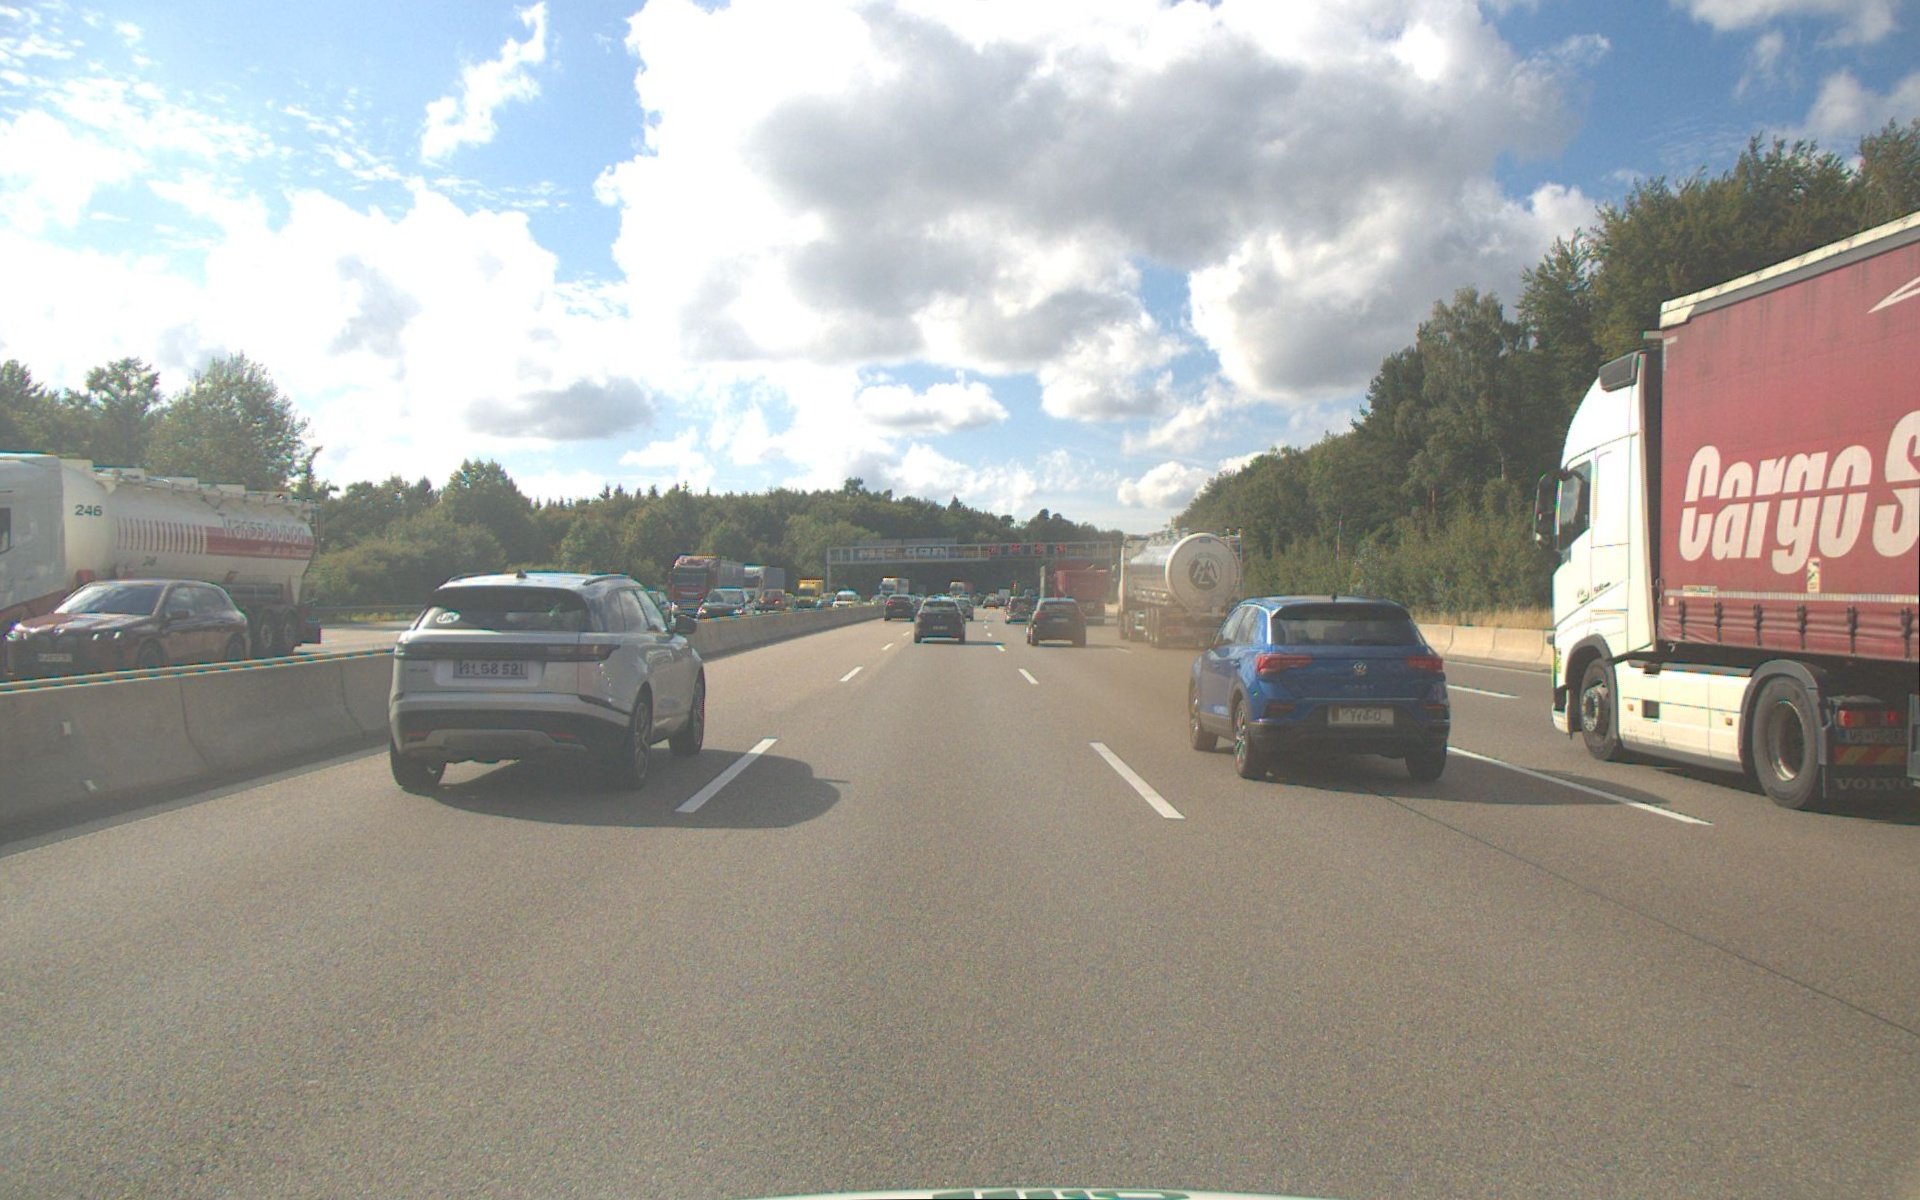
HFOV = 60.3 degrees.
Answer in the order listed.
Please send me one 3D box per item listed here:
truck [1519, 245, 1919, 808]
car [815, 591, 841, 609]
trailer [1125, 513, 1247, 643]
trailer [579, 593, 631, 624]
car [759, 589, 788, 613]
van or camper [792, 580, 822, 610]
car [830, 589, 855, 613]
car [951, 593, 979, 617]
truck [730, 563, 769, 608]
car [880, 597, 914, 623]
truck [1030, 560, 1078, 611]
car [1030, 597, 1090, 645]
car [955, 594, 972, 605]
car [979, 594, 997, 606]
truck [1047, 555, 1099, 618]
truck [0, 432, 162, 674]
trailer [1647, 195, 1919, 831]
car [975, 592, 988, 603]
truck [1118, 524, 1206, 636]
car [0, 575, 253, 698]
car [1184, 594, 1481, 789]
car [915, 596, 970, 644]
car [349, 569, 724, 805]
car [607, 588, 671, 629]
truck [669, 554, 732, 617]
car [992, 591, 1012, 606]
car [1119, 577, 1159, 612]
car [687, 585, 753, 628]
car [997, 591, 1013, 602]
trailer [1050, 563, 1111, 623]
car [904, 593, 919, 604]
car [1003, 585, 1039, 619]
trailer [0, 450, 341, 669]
[{"bbox_3d":[7.464,-0.544,15.032,2.717,4.116,5.772,0,0,-1],"label":"truck"},{"bbox_3d":[-12.312,-0.032,154.420,1.805,1.624,4.915,-1,0,2],"label":"car"},{"bbox_3d":[7.282,-0.662,54.861,2.594,3.833,11.861,0,0,1],"label":"trailer"},{"bbox_3d":[-16.945,0.407,79.079,1.503,1.427,4.180,0,0,1],"label":"trailer"},{"bbox_3d":[-16.020,0.059,142.131,1.809,1.974,5.034,0,0,1],"label":"car"},{"bbox_3d":[-15.456,-0.537,167.297,2.325,2.942,6.506,-1,0,1],"label":"van or camper"},{"bbox_3d":[-9.514,0.095,134.178,1.811,1.911,4.614,-1,0,-1],"label":"car"},{"bbox_3d":[0.343,0.298,106.851,1.785,1.483,4.000,0,0,1],"label":"car"},{"bbox_3d":[-19.954,-1.390,157.235,2.761,4.166,6.063,0,0,2],"label":"truck"},{"bbox_3d":[-3.893,0.607,102.598,1.902,1.483,4.000,-1,0,0],"label":"car"},{"bbox_3d":[7.680,-1.117,136.370,3.055,4.004,10.408,1,0,-1],"label":"truck"},{"bbox_3d":[3.208,0.664,53.665,1.785,1.483,4.001,0,0,1],"label":"car"},{"bbox_3d":[0.463,-0.064,216.558,2.034,1.483,4.001,-1,0,1],"label":"car"},{"bbox_3d":[3.535,0.013,208.820,2.035,1.483,3.999,-1,0,-2],"label":"car"},{"bbox_3d":[6.911,-0.849,101.913,2.655,3.783,5.816,1,1,-1],"label":"truck"},{"bbox_3d":[-17.339,-0.795,29.846,2.731,4.014,6.445,0,0,0],"label":"truck"},{"bbox_3d":[7.617,-0.550,7.950,2.717,4.116,13.710,0,0,-1],"label":"trailer"},{"bbox_3d":[3.248,-0.369,247.214,1.889,1.483,4.392,-1,0,1],"label":"car"},{"bbox_3d":[7.349,-0.710,60.891,2.594,3.890,6.082,0,0,1],"label":"truck"},{"bbox_3d":[-12.887,0.497,25.474,1.817,1.699,5.210,0,0,-1],"label":"car"},{"bbox_3d":[3.275,0.719,15.419,1.737,1.557,4.457,0,0,0],"label":"car"},{"bbox_3d":[-0.585,0.644,55.611,1.785,1.573,4.000,0,0,-1],"label":"car"},{"bbox_3d":[-3.368,0.607,14.347,1.965,1.644,5.299,1,0,-1],"label":"car"},{"bbox_3d":[-13.891,0.351,71.765,1.953,1.693,4.686,0,0,-1],"label":"car"},{"bbox_3d":[-16.824,-0.918,107.610,2.906,3.925,6.765,0,0,1],"label":"truck"},{"bbox_3d":[4.353,-0.136,172.312,1.903,1.483,3.999,-1,0,-2],"label":"car"},{"bbox_3d":[10.392,-0.319,96.143,1.855,1.991,4.100,1,0,0],"label":"car"},{"bbox_3d":[-10.085,0.248,69.859,2.111,1.729,5.349,0,0,-1],"label":"car"},{"bbox_3d":[6.294,-0.490,230.594,2.035,1.483,3.999,-1,0,-2],"label":"car"},{"bbox_3d":[6.979,-0.465,97.192,2.655,3.287,9.731,1,1,-1],"label":"trailer"},{"bbox_3d":[-6.745,-0.196,230.216,1.889,1.483,4.251,0,0,0],"label":"car"},{"bbox_3d":[3.528,0.118,95.970,1.855,1.889,4.099,1,0,-1],"label":"car"},{"bbox_3d":[-17.330,-0.758,36.518,2.731,4.014,12.252,0,0,0],"label":"trailer"}]
